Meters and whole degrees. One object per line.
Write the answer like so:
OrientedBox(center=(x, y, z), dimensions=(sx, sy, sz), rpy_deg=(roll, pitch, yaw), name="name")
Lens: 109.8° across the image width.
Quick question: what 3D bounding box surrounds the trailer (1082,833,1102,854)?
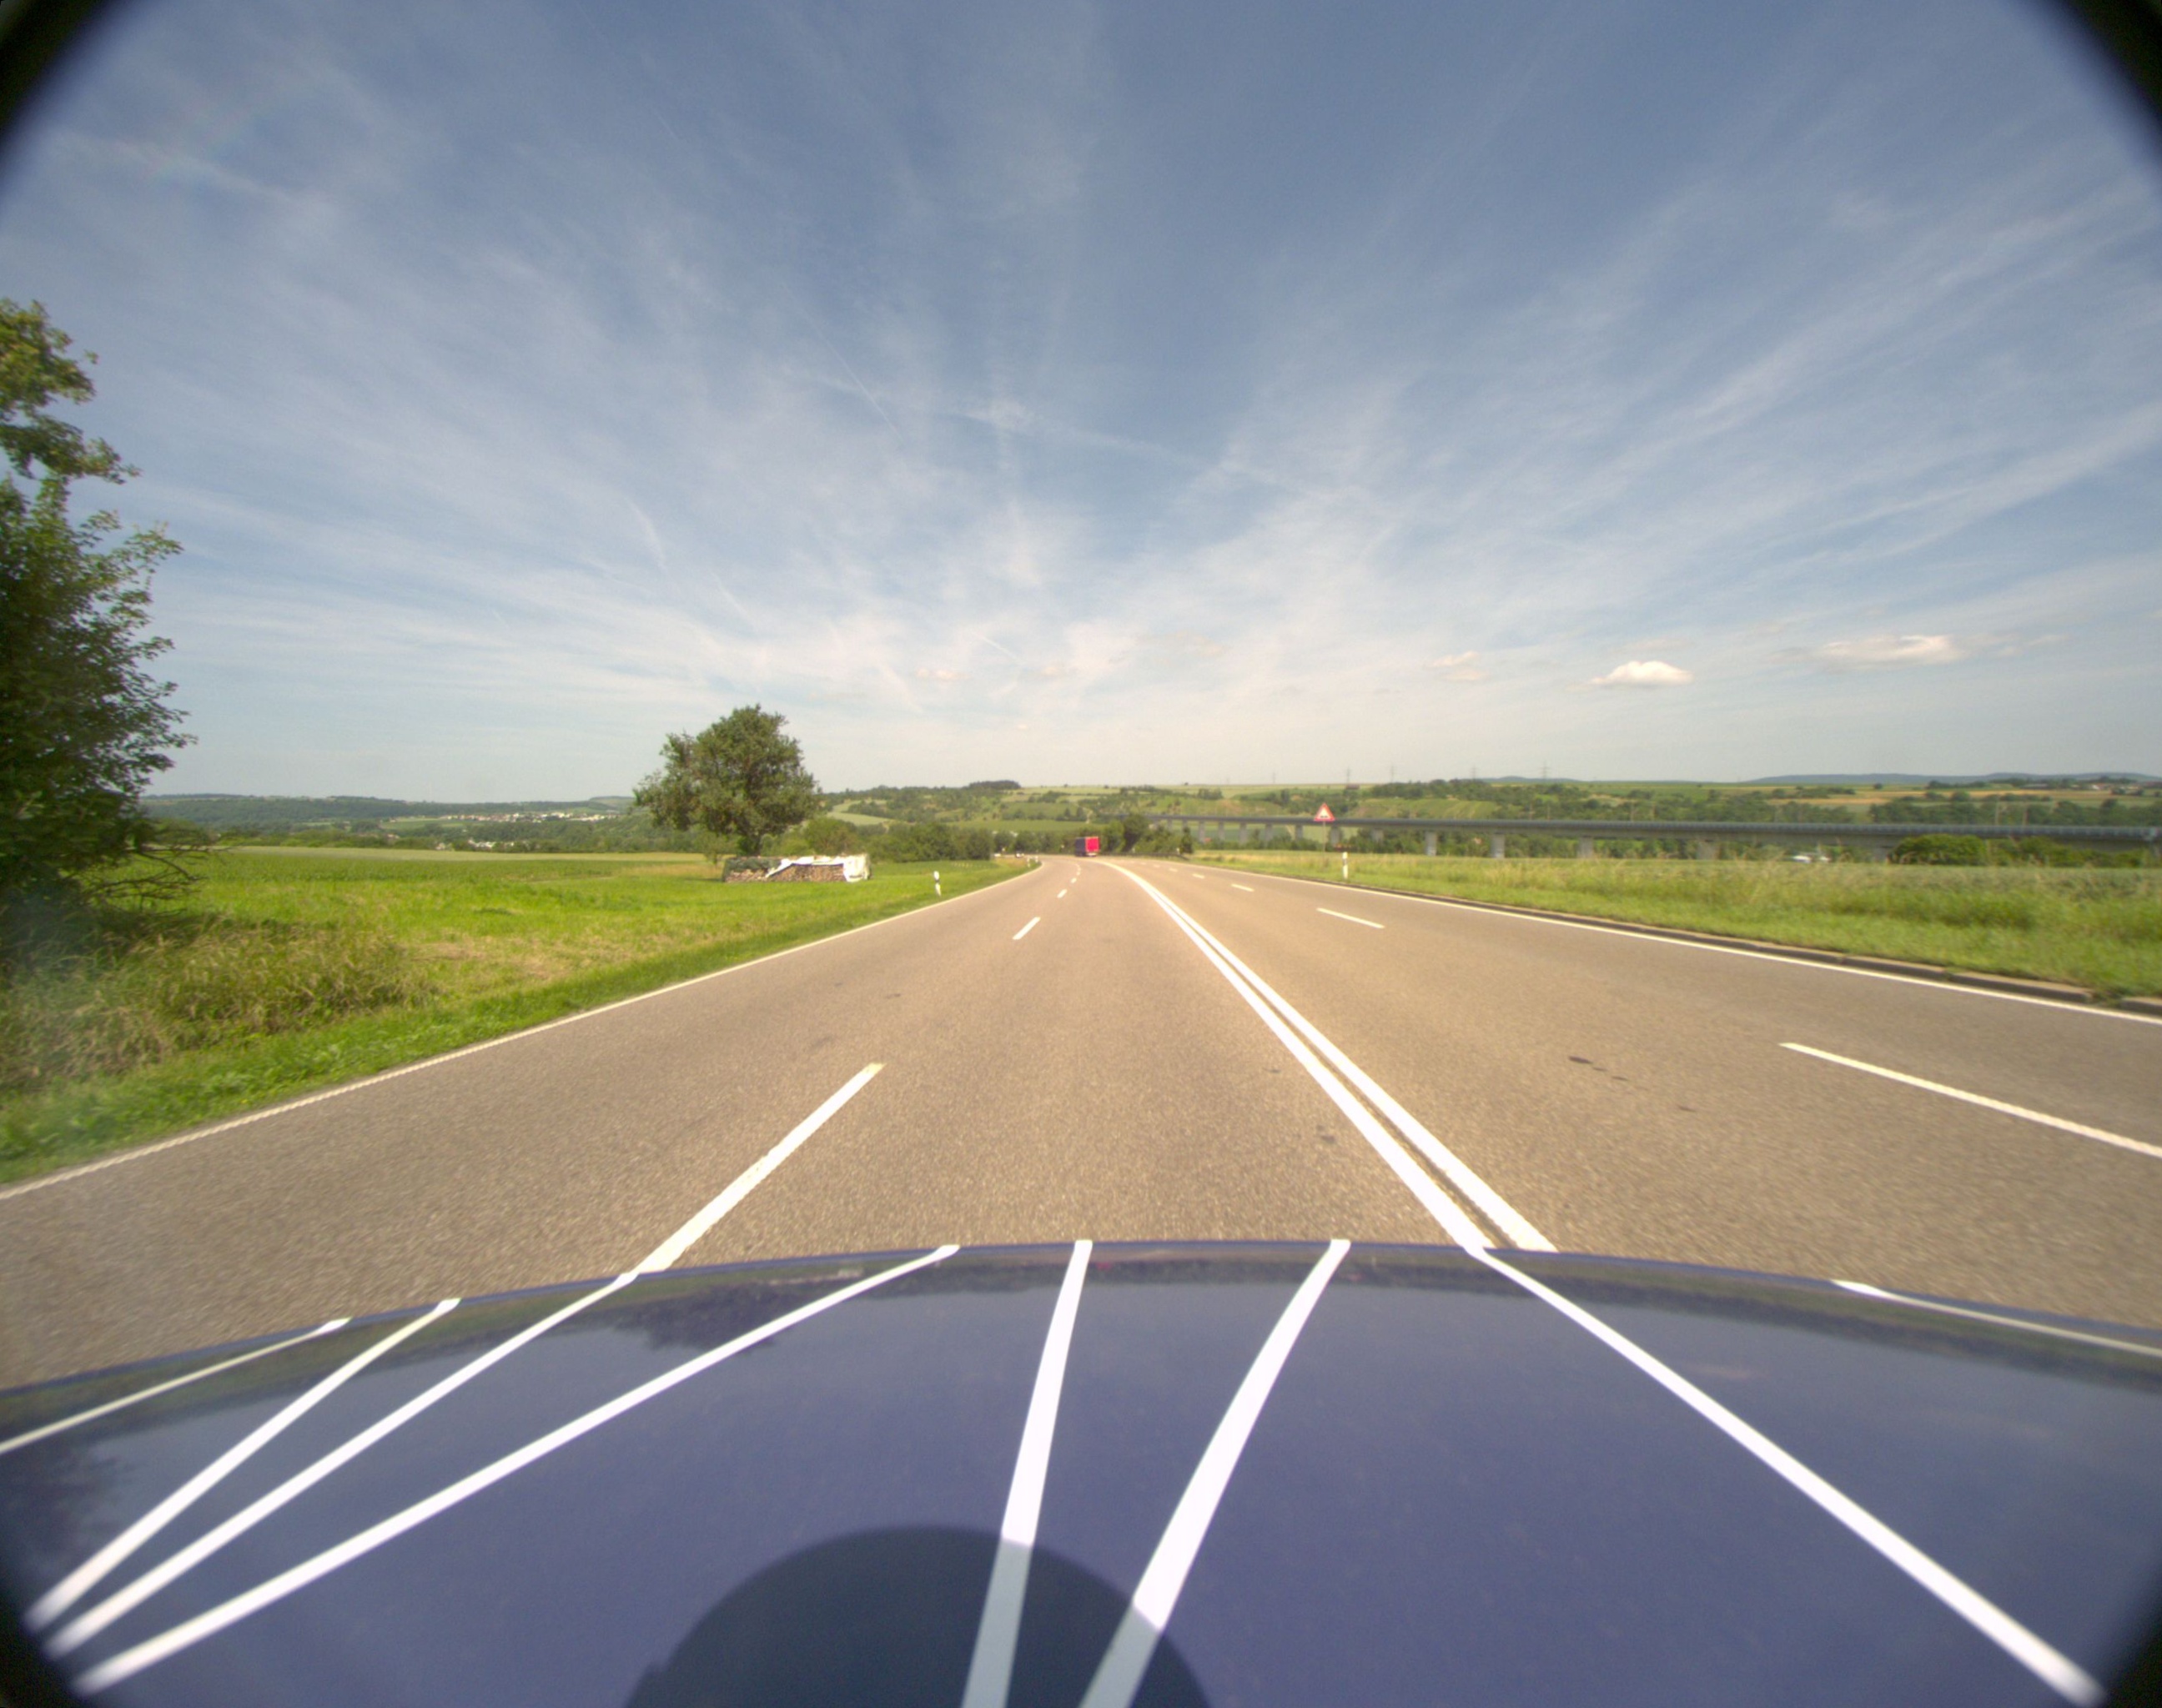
OrientedBox(center=(2.311, -2.183, 159.447), dimensions=(2.553, 4.078, 13.574), rpy_deg=(-1, 1, -6), name="trailer")
